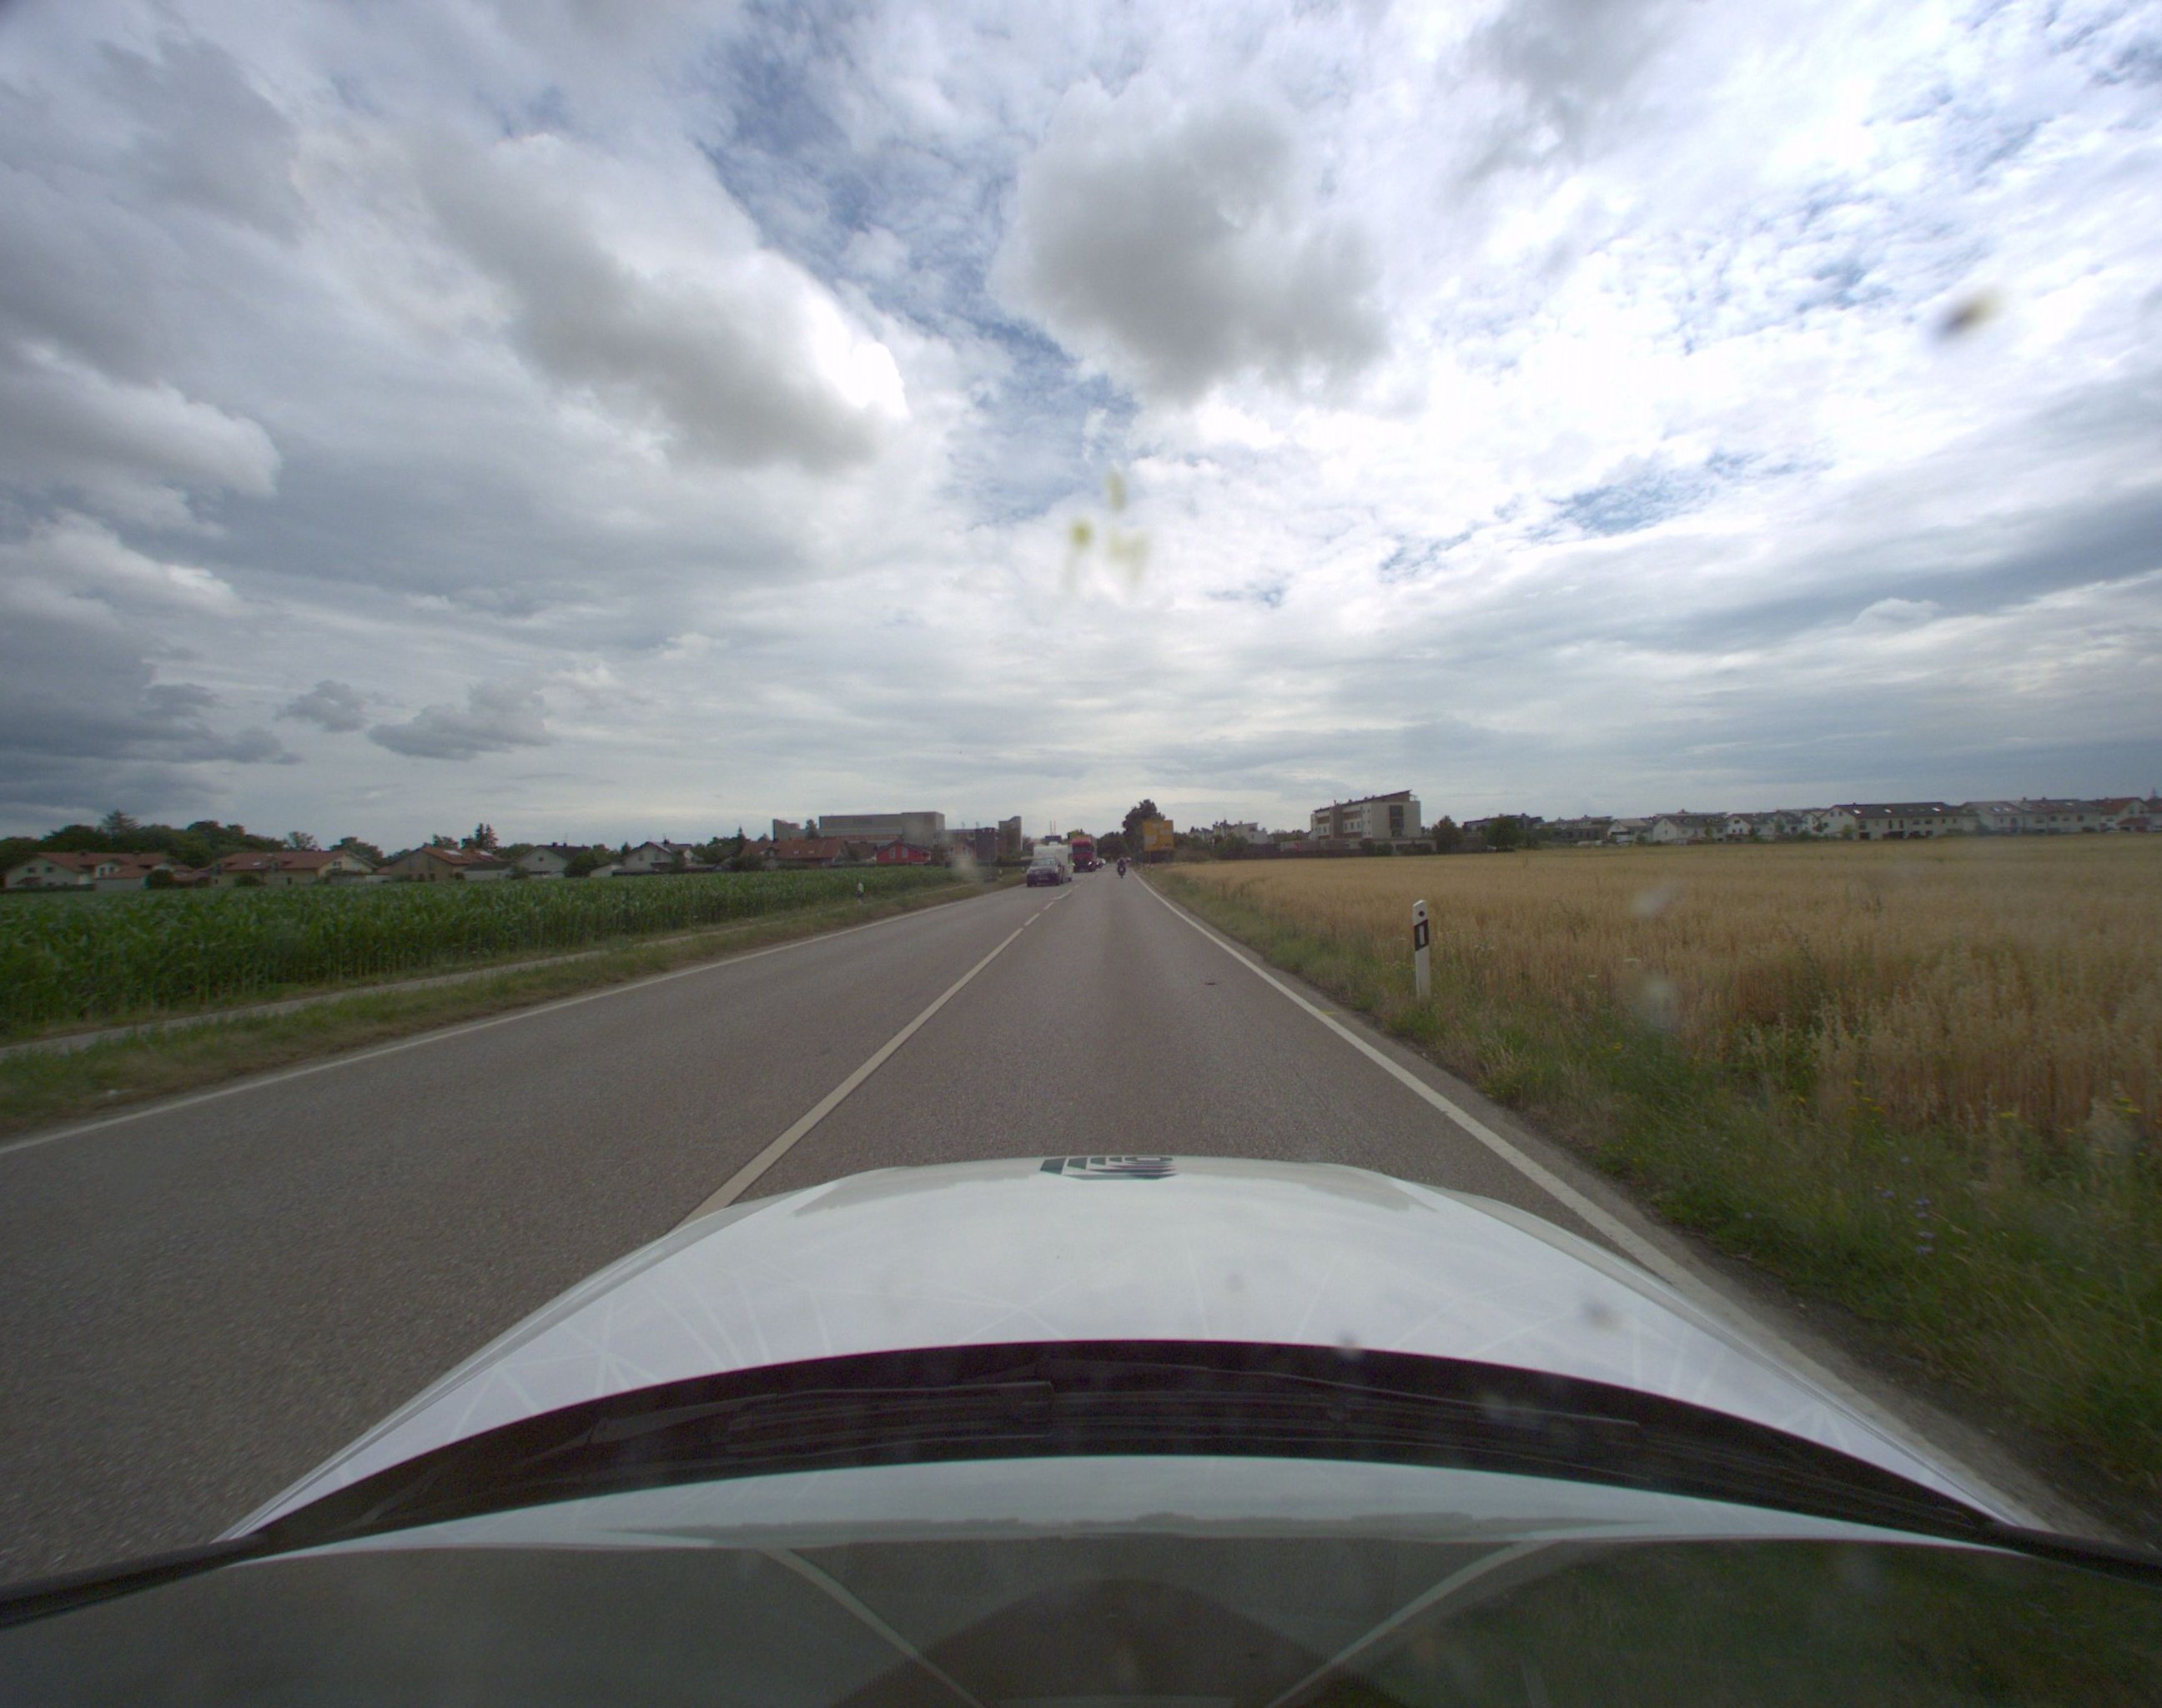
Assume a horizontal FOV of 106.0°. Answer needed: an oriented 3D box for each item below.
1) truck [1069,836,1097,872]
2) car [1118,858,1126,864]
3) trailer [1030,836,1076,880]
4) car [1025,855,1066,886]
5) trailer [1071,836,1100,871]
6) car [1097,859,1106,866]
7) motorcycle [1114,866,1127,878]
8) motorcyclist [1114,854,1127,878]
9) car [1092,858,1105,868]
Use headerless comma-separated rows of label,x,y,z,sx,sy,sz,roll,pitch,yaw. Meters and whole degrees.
truck,0.286,0.022,95.744,2.718,3.987,6.821,-2,-1,3
car,10.443,1.804,207.530,1.847,1.473,4.002,-2,-1,3
trailer,-1.812,0.309,54.994,2.314,2.729,7.849,-2,-1,3
car,-2.094,0.968,49.068,1.985,1.699,4.678,-2,-1,2
trailer,0.659,0.052,102.133,2.718,3.946,13.791,-2,-1,3
car,4.432,1.824,176.295,1.848,1.473,4.000,-2,-1,1
motorcycle,3.036,1.343,62.190,0.937,0.890,2.147,-2,-1,3
motorcyclist,3.024,0.906,62.262,0.937,1.750,1.201,-2,-1,2
car,2.708,1.437,124.241,1.848,1.473,4.000,-2,-1,1
